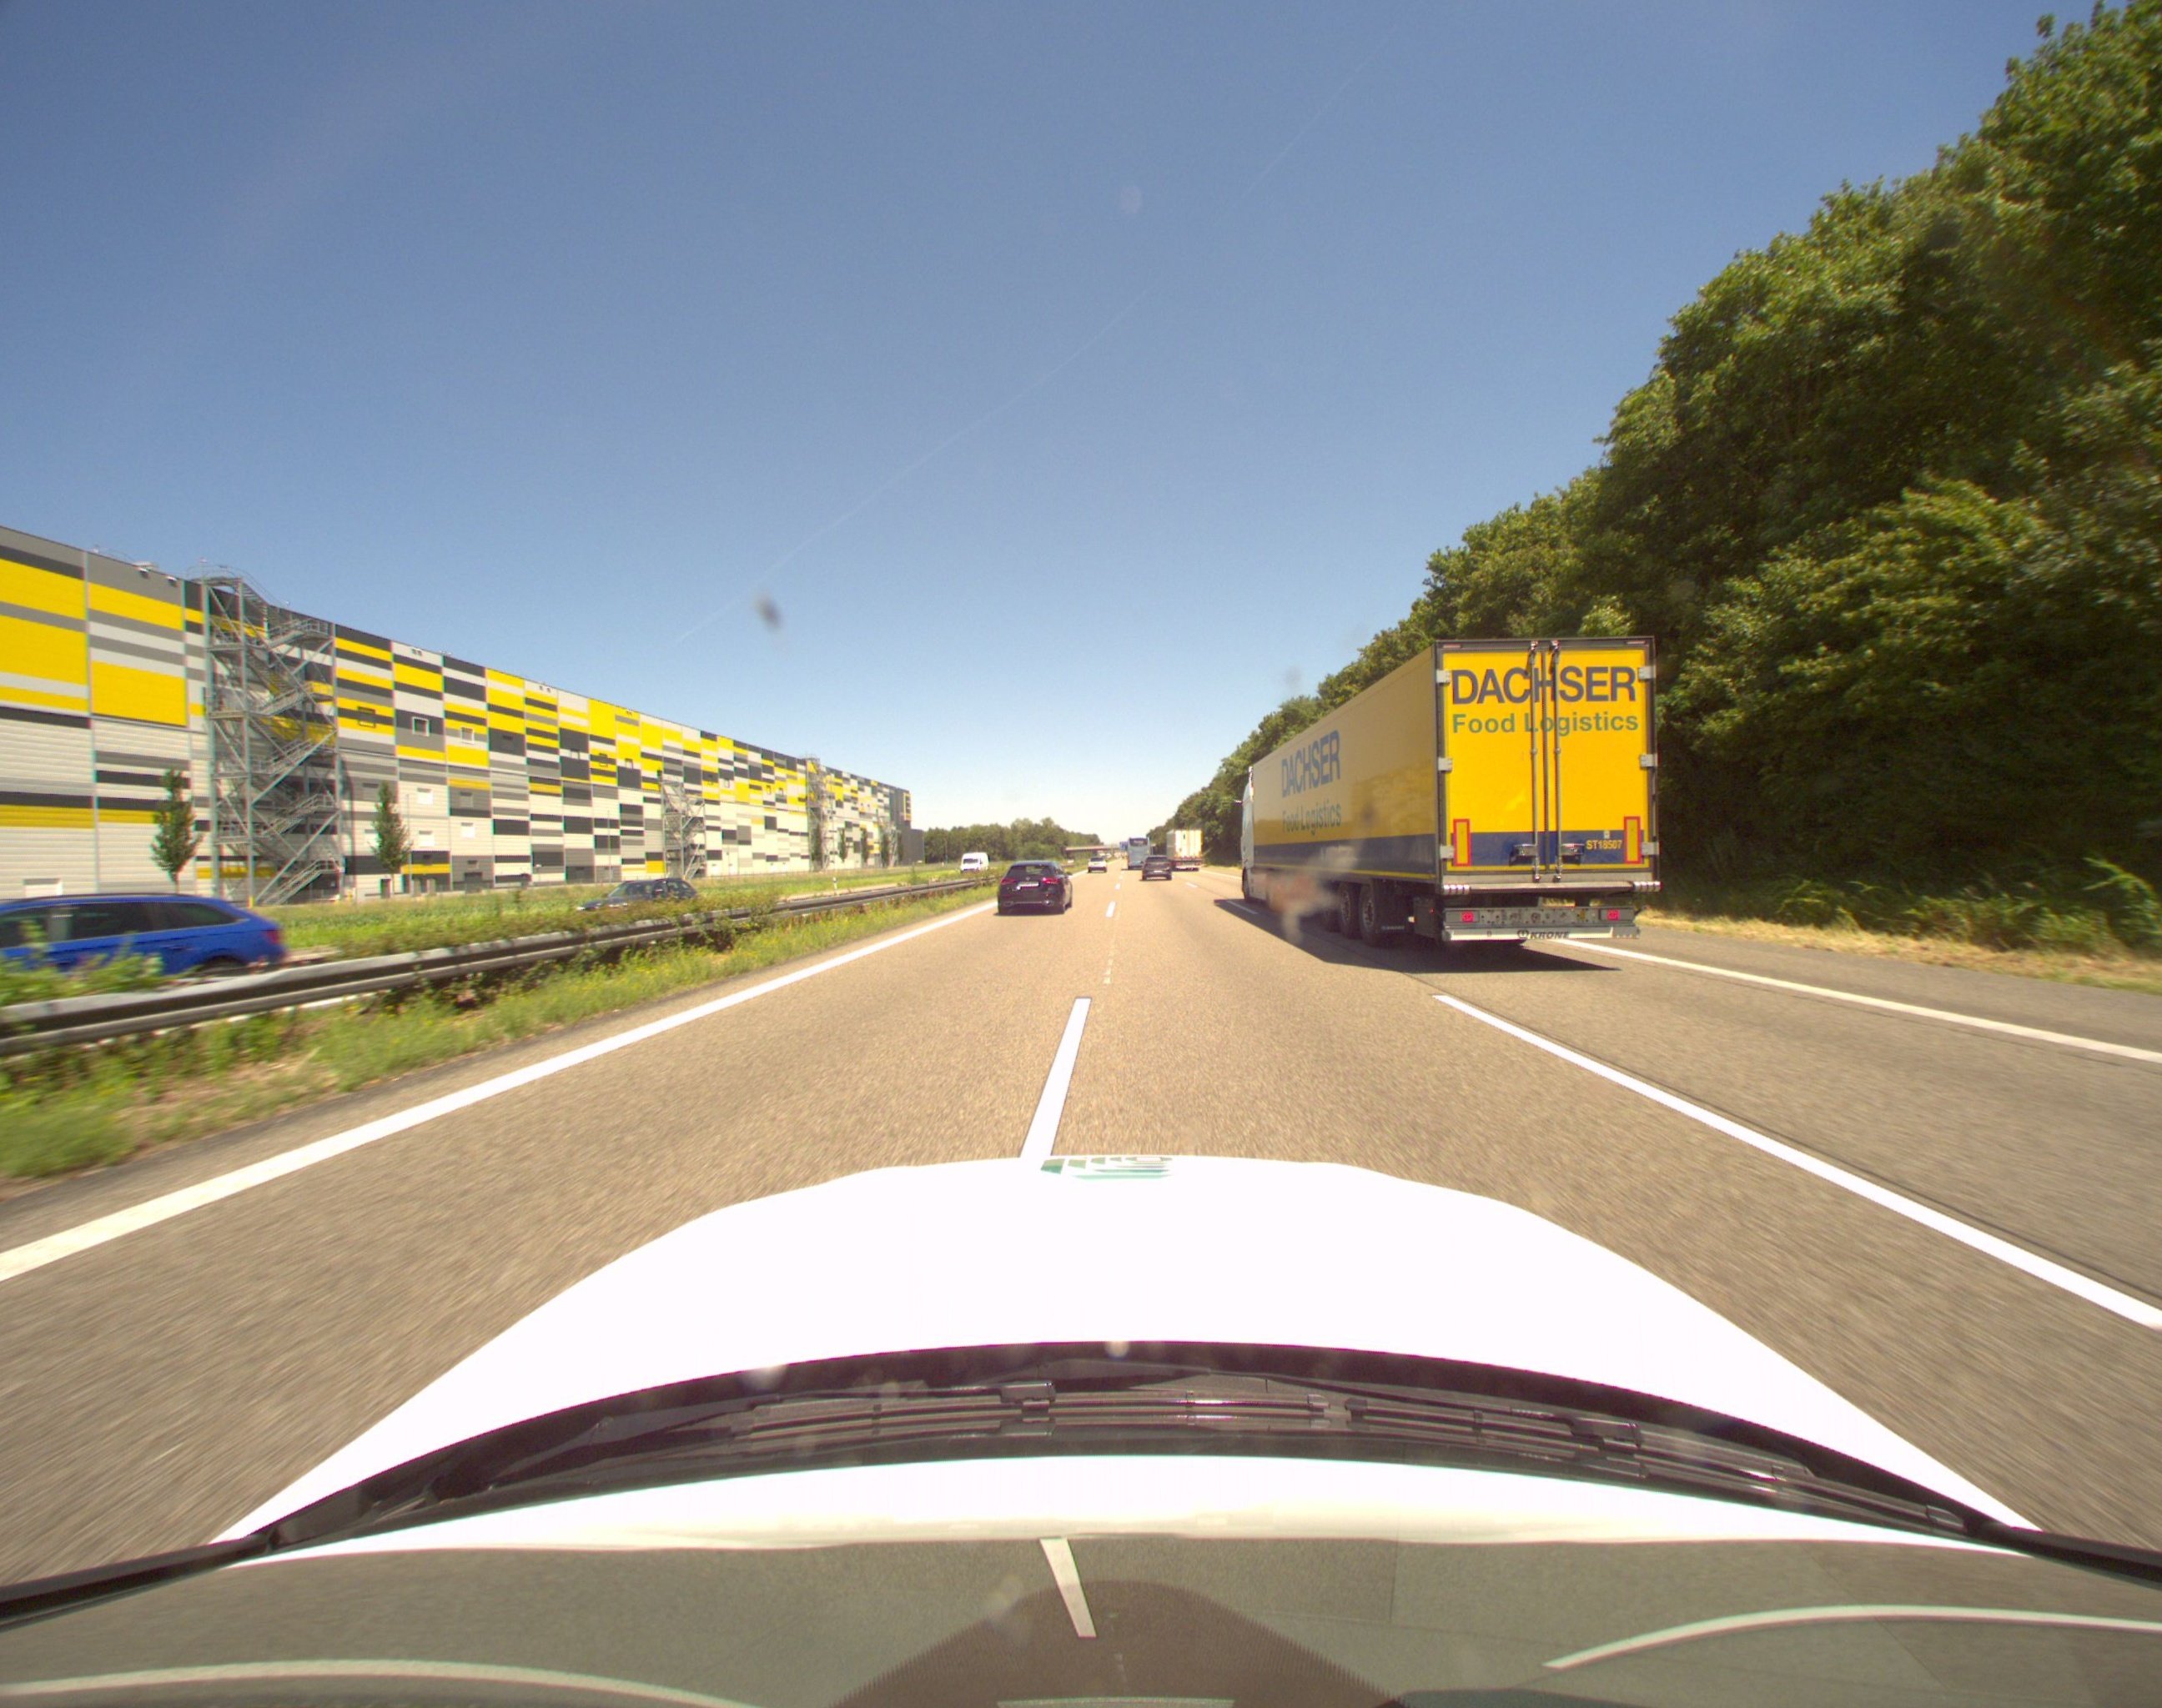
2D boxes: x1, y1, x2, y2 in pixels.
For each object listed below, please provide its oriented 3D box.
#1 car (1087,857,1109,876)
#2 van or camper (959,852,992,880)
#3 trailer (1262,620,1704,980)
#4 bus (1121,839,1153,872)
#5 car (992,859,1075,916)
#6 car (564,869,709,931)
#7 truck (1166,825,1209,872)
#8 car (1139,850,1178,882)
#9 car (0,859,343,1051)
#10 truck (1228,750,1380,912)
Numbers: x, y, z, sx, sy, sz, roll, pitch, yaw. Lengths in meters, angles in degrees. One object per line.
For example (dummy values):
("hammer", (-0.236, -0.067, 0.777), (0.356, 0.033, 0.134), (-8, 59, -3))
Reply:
("car", (1.701, 1.157, 78.549), (1.986, 1.728, 4.133), (-2, 0, 2))
("van or camper", (-11.122, 1.245, 86.155), (2.048, 2.779, 6.971), (-3, 0, 3))
("trailer", (5.792, -0.605, 14.976), (2.823, 3.953, 11.692), (-1, 0, 3))
("bus", (6.161, 0.143, 90.535), (3.051, 3.326, 8.278), (-3, 0, 2))
("car", (-1.231, 0.880, 22.911), (1.784, 1.412, 4.057), (-1, 0, 4))
("car", (-14.361, 1.415, 26.707), (1.844, 1.612, 4.837), (-5, 0, 2))
("truck", (10.208, -0.512, 79.167), (3.407, 4.126, 9.575), (-3, 0, 4))
("car", (4.813, 0.730, 51.307), (2.207, 1.790, 5.397), (-2, 0, 3))
("car", (-11.094, 1.002, 8.839), (1.904, 1.788, 4.484), (-3, 0, 2))
("truck", (6.236, -0.577, 23.914), (2.802, 4.006, 6.649), (-2, 0, 3))
